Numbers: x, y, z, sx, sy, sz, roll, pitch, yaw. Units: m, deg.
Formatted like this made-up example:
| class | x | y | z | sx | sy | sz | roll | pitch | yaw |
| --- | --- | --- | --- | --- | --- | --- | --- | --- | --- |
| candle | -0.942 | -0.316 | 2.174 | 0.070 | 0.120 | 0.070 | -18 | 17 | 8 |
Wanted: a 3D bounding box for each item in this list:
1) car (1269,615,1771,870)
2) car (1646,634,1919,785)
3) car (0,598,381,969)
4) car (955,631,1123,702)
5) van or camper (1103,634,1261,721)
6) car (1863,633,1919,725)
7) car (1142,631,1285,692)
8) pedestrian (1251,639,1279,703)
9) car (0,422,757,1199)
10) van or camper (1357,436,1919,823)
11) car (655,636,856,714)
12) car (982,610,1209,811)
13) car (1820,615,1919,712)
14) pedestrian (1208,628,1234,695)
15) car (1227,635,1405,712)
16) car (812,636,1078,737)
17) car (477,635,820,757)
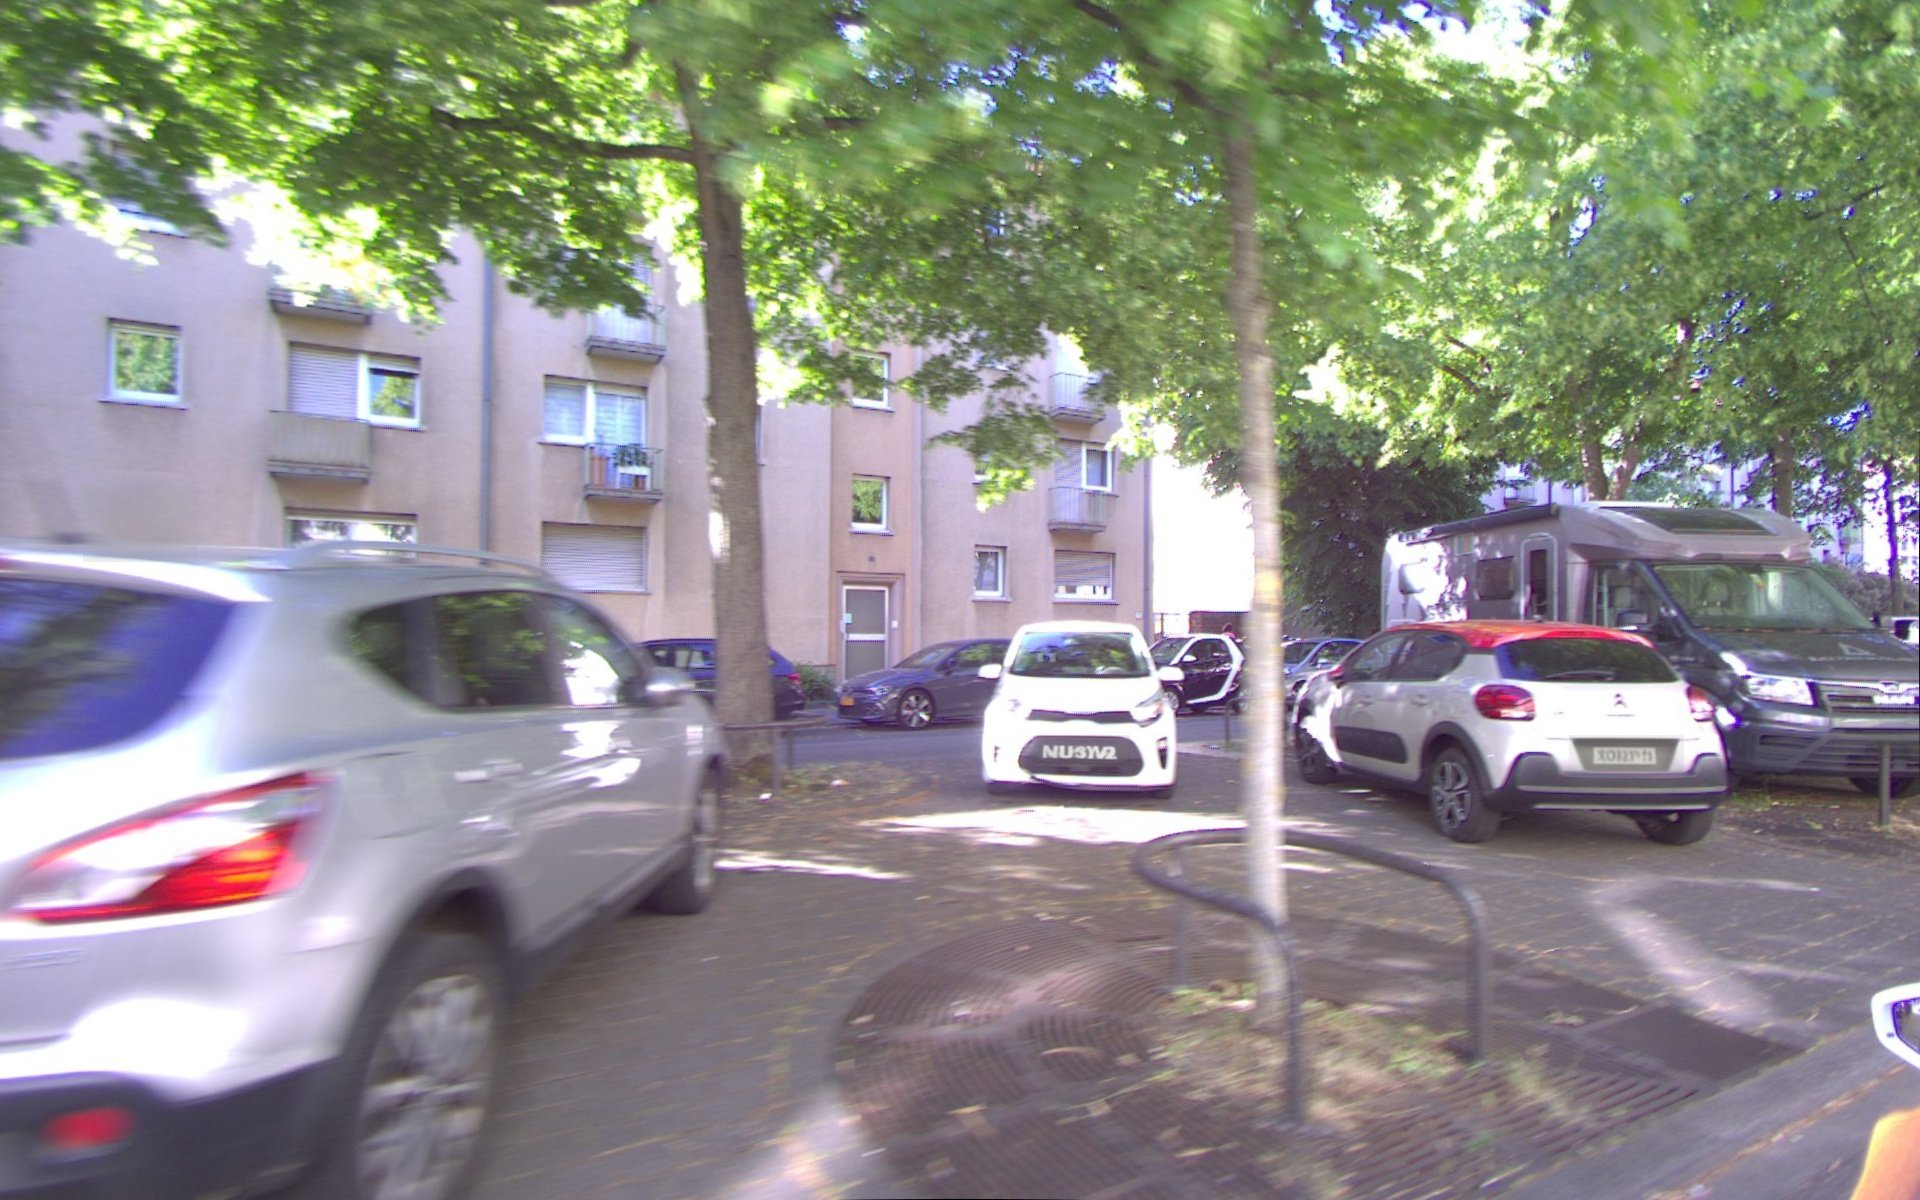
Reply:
| class | x | y | z | sx | sy | sz | roll | pitch | yaw |
| --- | --- | --- | --- | --- | --- | --- | --- | --- | --- |
| car | 3.998 | 0.926 | 8.062 | 1.723 | 1.527 | 4.000 | 0 | -2 | -1 |
| car | 10.029 | 1.113 | 11.206 | 1.643 | 1.443 | 4.328 | 0 | -2 | -3 |
| car | -4.606 | 0.712 | 4.286 | 1.787 | 1.422 | 4.043 | 1 | 0 | 2 |
| car | 1.817 | 1.463 | 22.961 | 3.569 | 1.501 | 1.617 | 1 | -2 | -30 |
| van or camper | 4.347 | 1.451 | 19.646 | 2.666 | 1.575 | 1.589 | 1 | -2 | -30 |
| car | 16.079 | 1.223 | 14.773 | 1.698 | 1.462 | 4.491 | 0 | -2 | 3 |
| car | 6.696 | 1.580 | 26.471 | 3.569 | 1.501 | 1.617 | 1 | -2 | -30 |
| pedestrian | 8.446 | 1.957 | 27.791 | 0.552 | 1.750 | 0.497 | 1 | -2 | -30 |
| car | -1.975 | 0.639 | 3.547 | 1.725 | 1.701 | 4.147 | 0 | -2 | -1 |
| van or camper | 7.235 | 0.348 | 11.393 | 2.269 | 2.968 | 7.248 | 0 | -2 | -3 |
| car | -4.005 | 1.407 | 19.787 | 3.569 | 1.405 | 1.617 | 1 | -2 | -30 |
| car | 1.147 | 0.903 | 9.463 | 1.722 | 1.527 | 3.546 | 0 | -2 | 4 |
| car | 18.616 | 1.169 | 18.437 | 1.774 | 1.787 | 4.561 | 0 | -2 | 0 |
| pedestrian | 7.298 | 1.712 | 28.088 | 0.457 | 1.851 | 0.497 | 1 | -2 | -30 |
| car | 7.762 | 1.537 | 21.828 | 3.725 | 1.519 | 1.656 | 1 | -2 | -30 |
| car | -0.212 | 1.378 | 17.162 | 4.259 | 1.528 | 1.755 | 1 | -2 | -31 |
| car | -4.500 | 1.282 | 14.679 | 4.480 | 1.528 | 1.984 | 1 | -2 | -31 |
